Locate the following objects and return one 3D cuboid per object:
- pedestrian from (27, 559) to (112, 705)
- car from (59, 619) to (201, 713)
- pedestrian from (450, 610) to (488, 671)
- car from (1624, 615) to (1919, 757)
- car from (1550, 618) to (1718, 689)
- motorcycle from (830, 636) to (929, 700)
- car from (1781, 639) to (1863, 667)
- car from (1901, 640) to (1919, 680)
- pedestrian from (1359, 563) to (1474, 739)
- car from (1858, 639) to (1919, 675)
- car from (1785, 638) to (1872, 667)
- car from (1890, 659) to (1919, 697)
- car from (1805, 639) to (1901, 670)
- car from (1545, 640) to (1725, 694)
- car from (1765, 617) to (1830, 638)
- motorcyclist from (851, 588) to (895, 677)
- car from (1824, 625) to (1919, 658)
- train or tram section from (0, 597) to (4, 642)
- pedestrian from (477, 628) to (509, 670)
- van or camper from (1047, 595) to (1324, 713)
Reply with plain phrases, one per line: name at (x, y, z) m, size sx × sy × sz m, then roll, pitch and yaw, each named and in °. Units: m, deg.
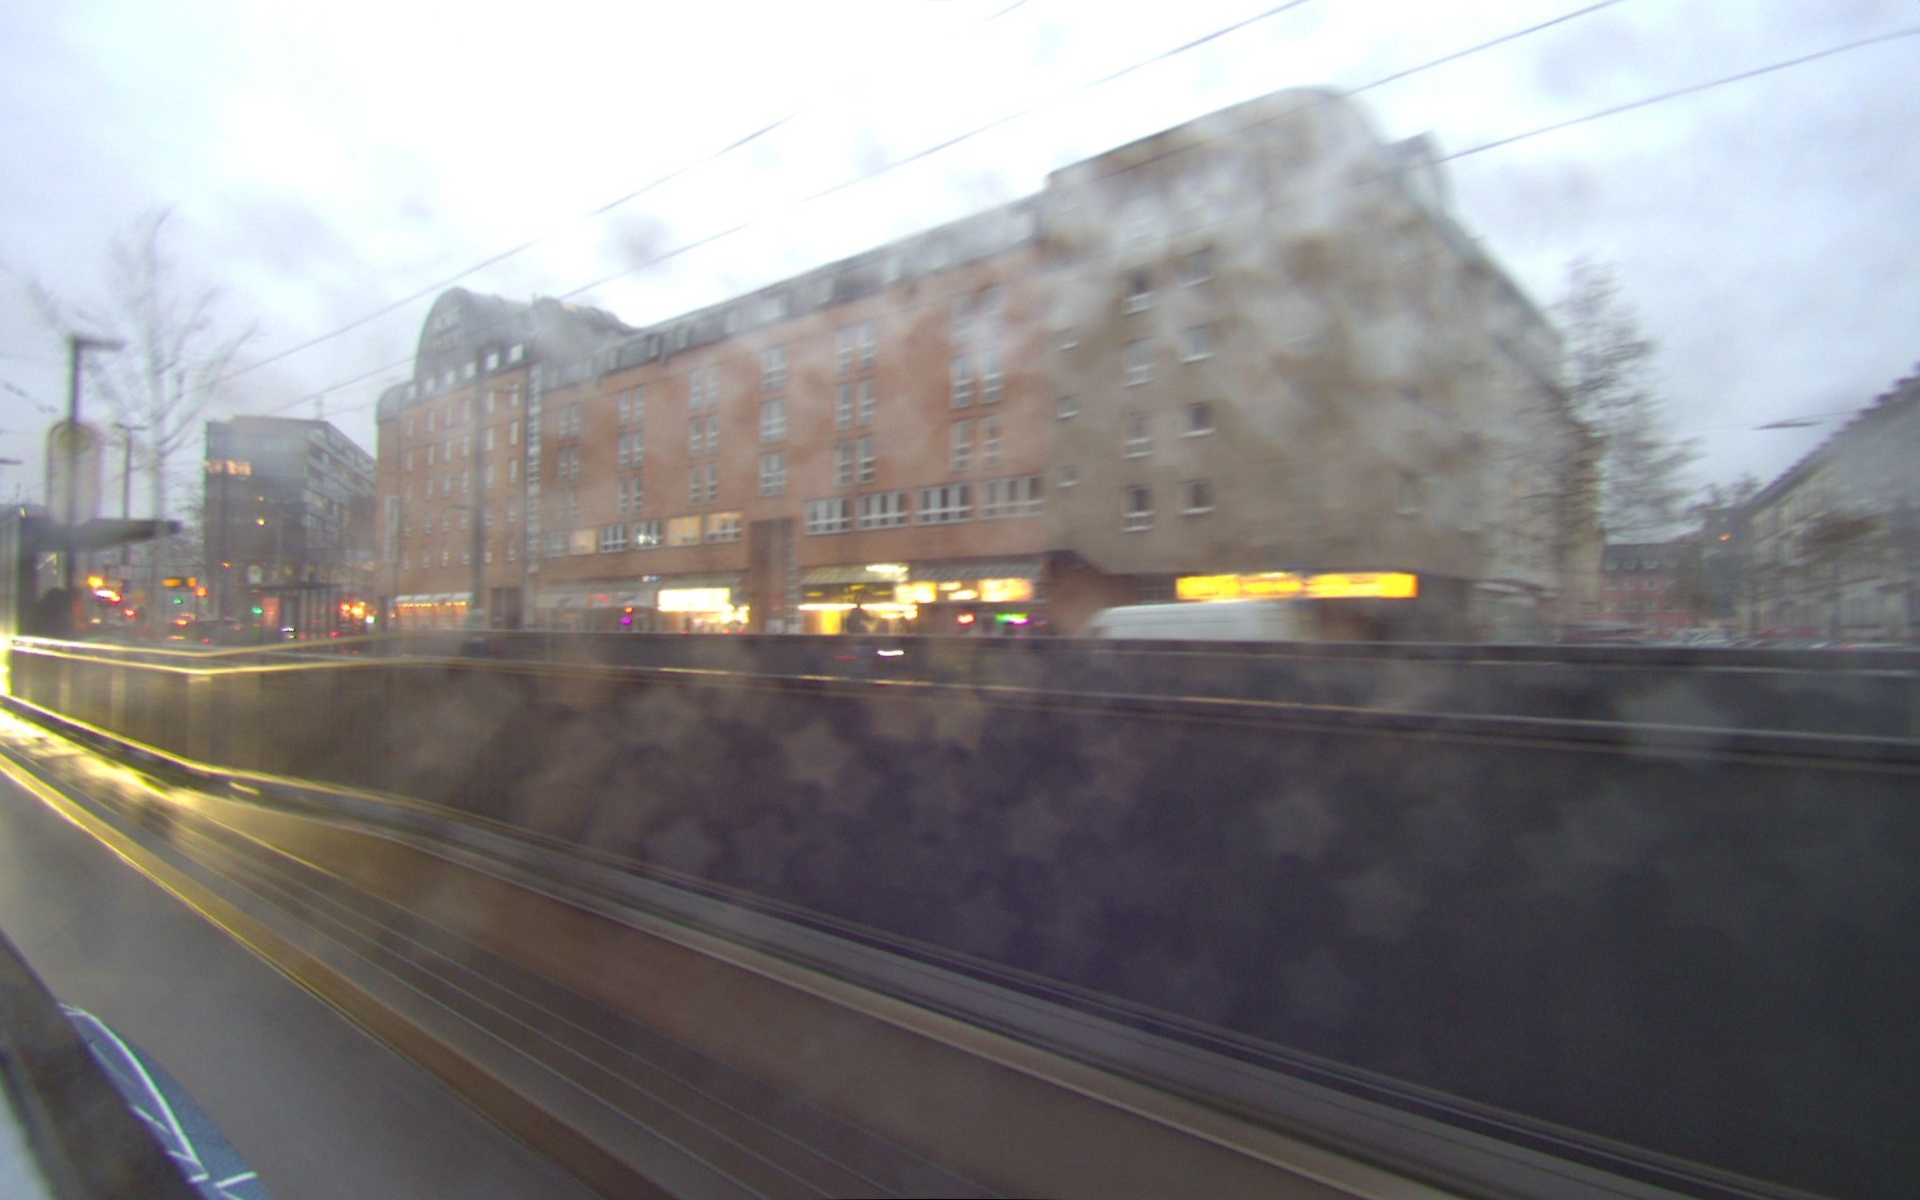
pedestrian at (-13.450, 0.476, 15.291) m, size 0.803 × 2.126 × 0.802 m, roll -1°, pitch -2°, yaw 38°
car at (-14.435, 1.076, 17.548) m, size 3.134 × 1.453 × 1.416 m, roll -1°, pitch -1°, yaw 41°
pedestrian at (-12.845, 1.048, 26.473) m, size 0.756 × 1.536 × 0.628 m, roll -1°, pitch -1°, yaw 41°
car at (9.377, 0.856, 10.912) m, size 3.543 × 1.364 × 1.665 m, roll -1°, pitch -1°, yaw 40°
car at (20.625, 1.611, 31.205) m, size 4.127 × 2.050 × 1.730 m, roll -1°, pitch -2°, yaw 30°
motorcycle at (-1.402, 1.135, 17.319) m, size 1.804 × 1.016 × 0.508 m, roll -1°, pitch -1°, yaw 37°
car at (47.113, 2.884, 55.392) m, size 3.310 × 1.436 × 1.441 m, roll -1°, pitch -3°, yaw 37°
car at (36.000, 2.170, 36.139) m, size 3.310 × 1.436 × 1.441 m, roll -1°, pitch -3°, yaw 37°
pedestrian at (4.839, 0.520, 10.782) m, size 0.811 × 1.793 × 0.798 m, roll -1°, pitch -1°, yaw -1°
car at (38.612, 2.286, 40.888) m, size 3.310 × 1.436 × 1.441 m, roll -1°, pitch -3°, yaw 37°
car at (45.433, 2.741, 53.008) m, size 3.310 × 1.436 × 1.441 m, roll -1°, pitch -3°, yaw 37°
car at (37.711, 2.986, 38.459) m, size 3.310 × 1.436 × 1.441 m, roll -1°, pitch -3°, yaw 37°
car at (43.152, 2.599, 48.974) m, size 3.310 × 1.436 × 1.441 m, roll -1°, pitch -3°, yaw 37°
car at (19.145, 1.868, 28.935) m, size 4.127 × 1.441 × 1.590 m, roll -1°, pitch -2°, yaw 30°
car at (57.171, 1.891, 69.143) m, size 3.310 × 1.436 × 1.441 m, roll -1°, pitch -3°, yaw 37°
motorcyclist at (-1.496, 0.549, 17.432) m, size 0.555 × 1.507 × 0.494 m, roll -1°, pitch -1°, yaw 36°
car at (40.954, 1.832, 45.286) m, size 3.310 × 1.436 × 1.441 m, roll -1°, pitch -3°, yaw 37°
train or tram section at (-81.461, 1.605, 83.416) m, size 11.030 × 3.595 × 2.869 m, roll -1°, pitch -1°, yaw 41°
pedestrian at (-12.531, 1.308, 27.153) m, size 0.591 × 1.111 × 0.600 m, roll -1°, pitch -1°, yaw 41°
van or camper at (5.725, 1.287, 26.680) m, size 2.740 × 2.702 × 6.762 m, roll 0°, pitch -1°, yaw -42°
